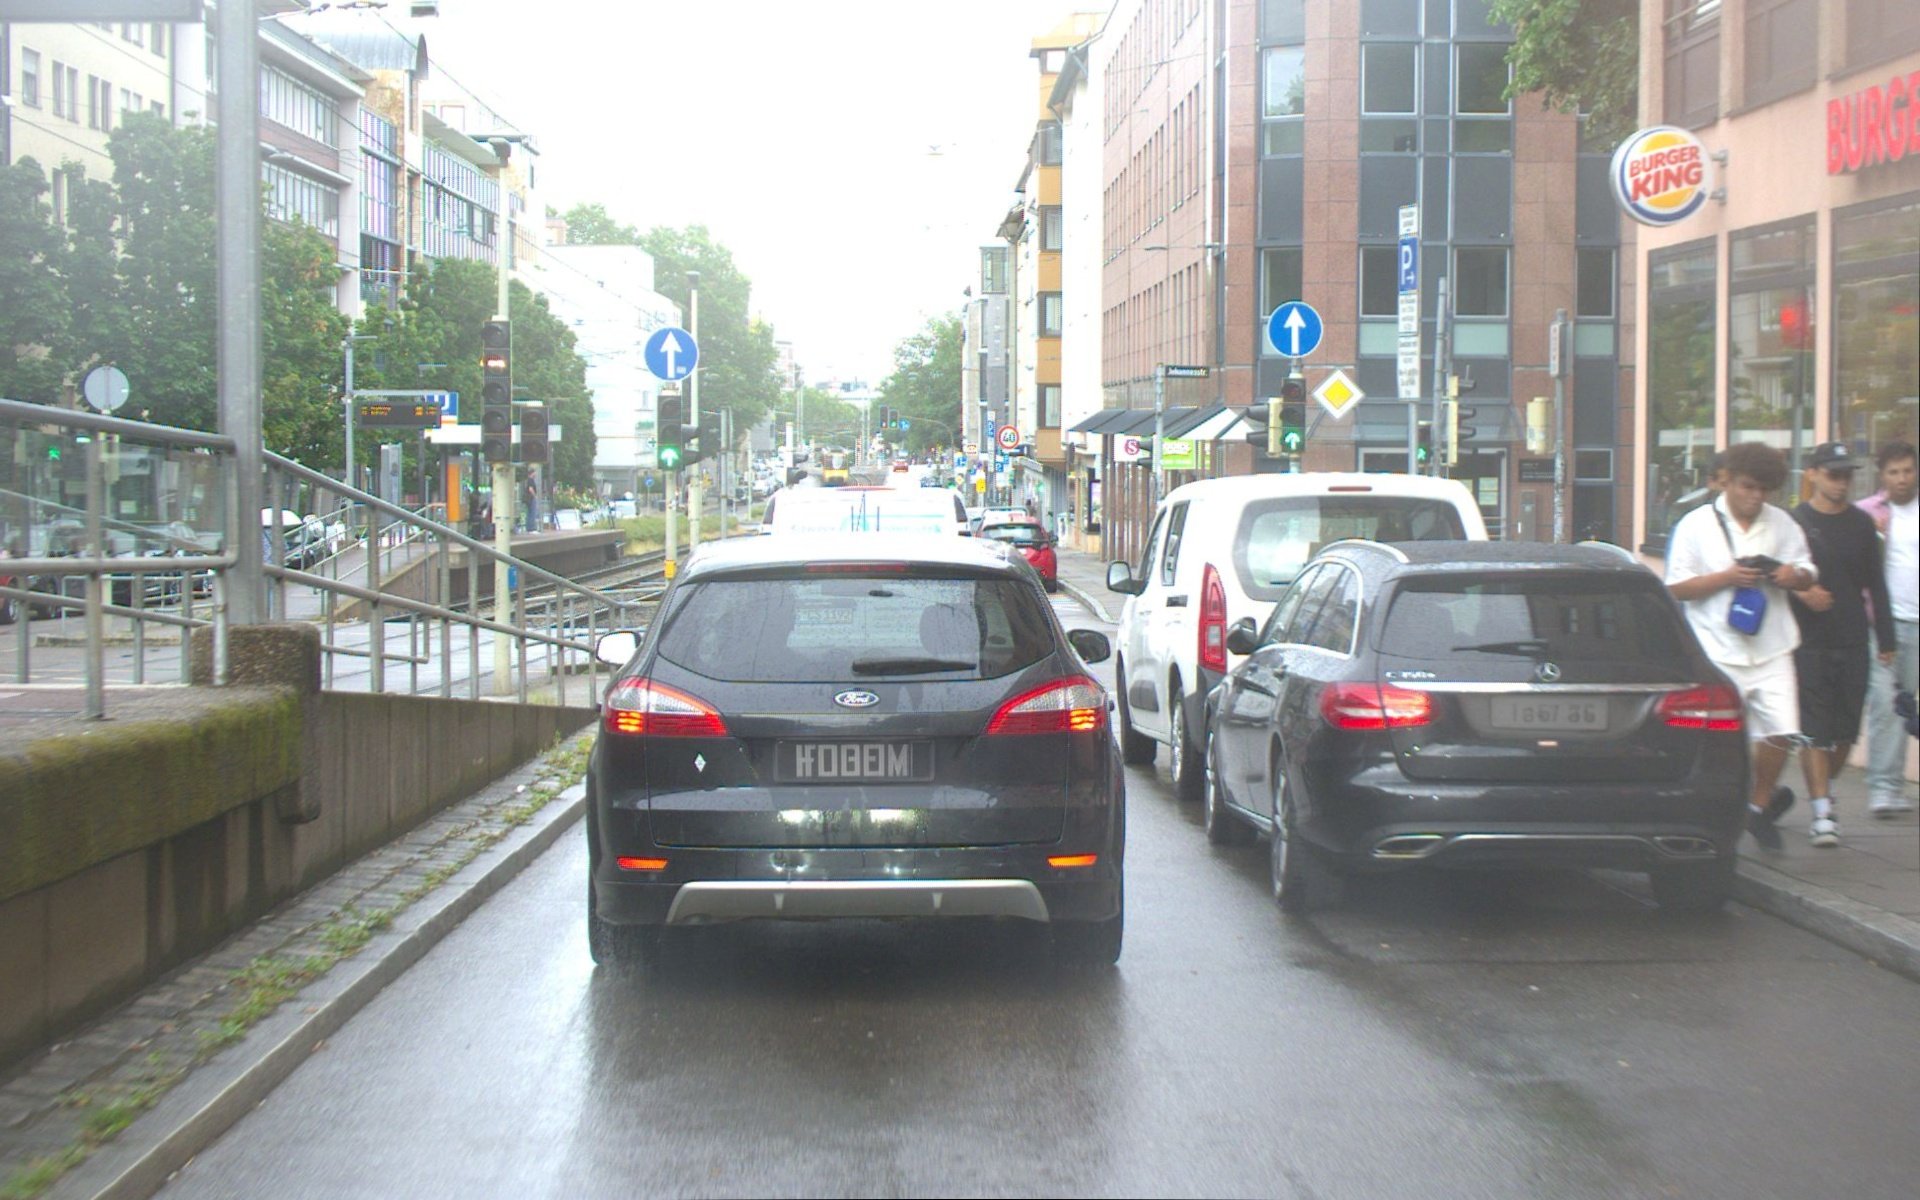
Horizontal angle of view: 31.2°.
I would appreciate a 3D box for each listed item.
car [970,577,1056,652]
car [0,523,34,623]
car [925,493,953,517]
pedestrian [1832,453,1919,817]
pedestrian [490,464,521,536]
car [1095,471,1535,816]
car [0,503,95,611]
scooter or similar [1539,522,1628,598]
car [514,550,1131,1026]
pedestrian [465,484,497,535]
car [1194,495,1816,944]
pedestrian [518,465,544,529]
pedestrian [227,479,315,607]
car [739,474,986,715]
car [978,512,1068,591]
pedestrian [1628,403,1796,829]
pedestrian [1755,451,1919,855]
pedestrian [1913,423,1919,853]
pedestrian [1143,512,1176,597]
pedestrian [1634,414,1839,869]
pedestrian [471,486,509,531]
[{"bbox_3d":[1.122,0.283,74.112,1.698,1.457,3.867,-2,1,0],"label":"car"},{"bbox_3d":[-16.566,-0.409,55.916,1.726,1.606,4.553,-1,2,0],"label":"car"},{"bbox_3d":[-1.472,-6.646,240.297,1.906,1.627,4.574,0,1,0],"label":"car"},{"bbox_3d":[4.506,0.159,16.369,0.576,1.708,0.477,-1,1,1],"label":"pedestrian"},{"bbox_3d":[-10.922,-2.404,82.576,0.655,1.705,0.850,-1,1,-3],"label":"pedestrian"},{"bbox_3d":[1.960,0.183,20.425,1.906,1.800,4.778,0,1,-3],"label":"car"},{"bbox_3d":[-16.731,-0.800,61.345,1.707,1.852,4.322,-1,2,-3],"label":"car"},{"bbox_3d":[10.180,-0.651,56.143,1.374,1.223,0.325,-1,1,3],"label":"scooter or similar"},{"bbox_3d":[-0.436,0.558,12.384,1.906,1.457,3.445,0,1,0],"label":"car"},{"bbox_3d":[-11.889,-2.242,85.341,0.692,1.245,0.884,-1,2,-3],"label":"pedestrian"},{"bbox_3d":[2.114,0.389,14.577,1.906,1.610,4.414,0,1,0],"label":"car"},{"bbox_3d":[-12.046,-2.886,96.576,0.655,1.795,0.850,-1,1,-3],"label":"pedestrian"},{"bbox_3d":[-11.076,-0.918,55.320,1.116,2.007,1.383,-1,1,-1],"label":"pedestrian"},{"bbox_3d":[-0.768,-0.083,28.953,1.906,1.858,4.574,0,1,0],"label":"car"},{"bbox_3d":[1.254,-0.991,69.420,1.698,1.474,3.867,-2,1,1],"label":"car"},{"bbox_3d":[3.495,0.071,16.011,0.651,1.941,0.533,-1,1,1],"label":"pedestrian"},{"bbox_3d":[3.818,0.221,14.879,0.610,1.708,0.581,-1,1,1],"label":"pedestrian"},{"bbox_3d":[4.415,0.162,14.249,0.756,1.813,0.588,-1,1,1],"label":"pedestrian"},{"bbox_3d":[3.937,-0.905,67.898,0.601,1.653,0.625,-1,1,0],"label":"pedestrian"},{"bbox_3d":[3.228,0.164,14.337,0.695,1.848,0.652,-1,1,1],"label":"pedestrian"},{"bbox_3d":[-11.965,-2.330,87.580,0.892,1.119,0.850,-1,2,-11],"label":"pedestrian"}]
